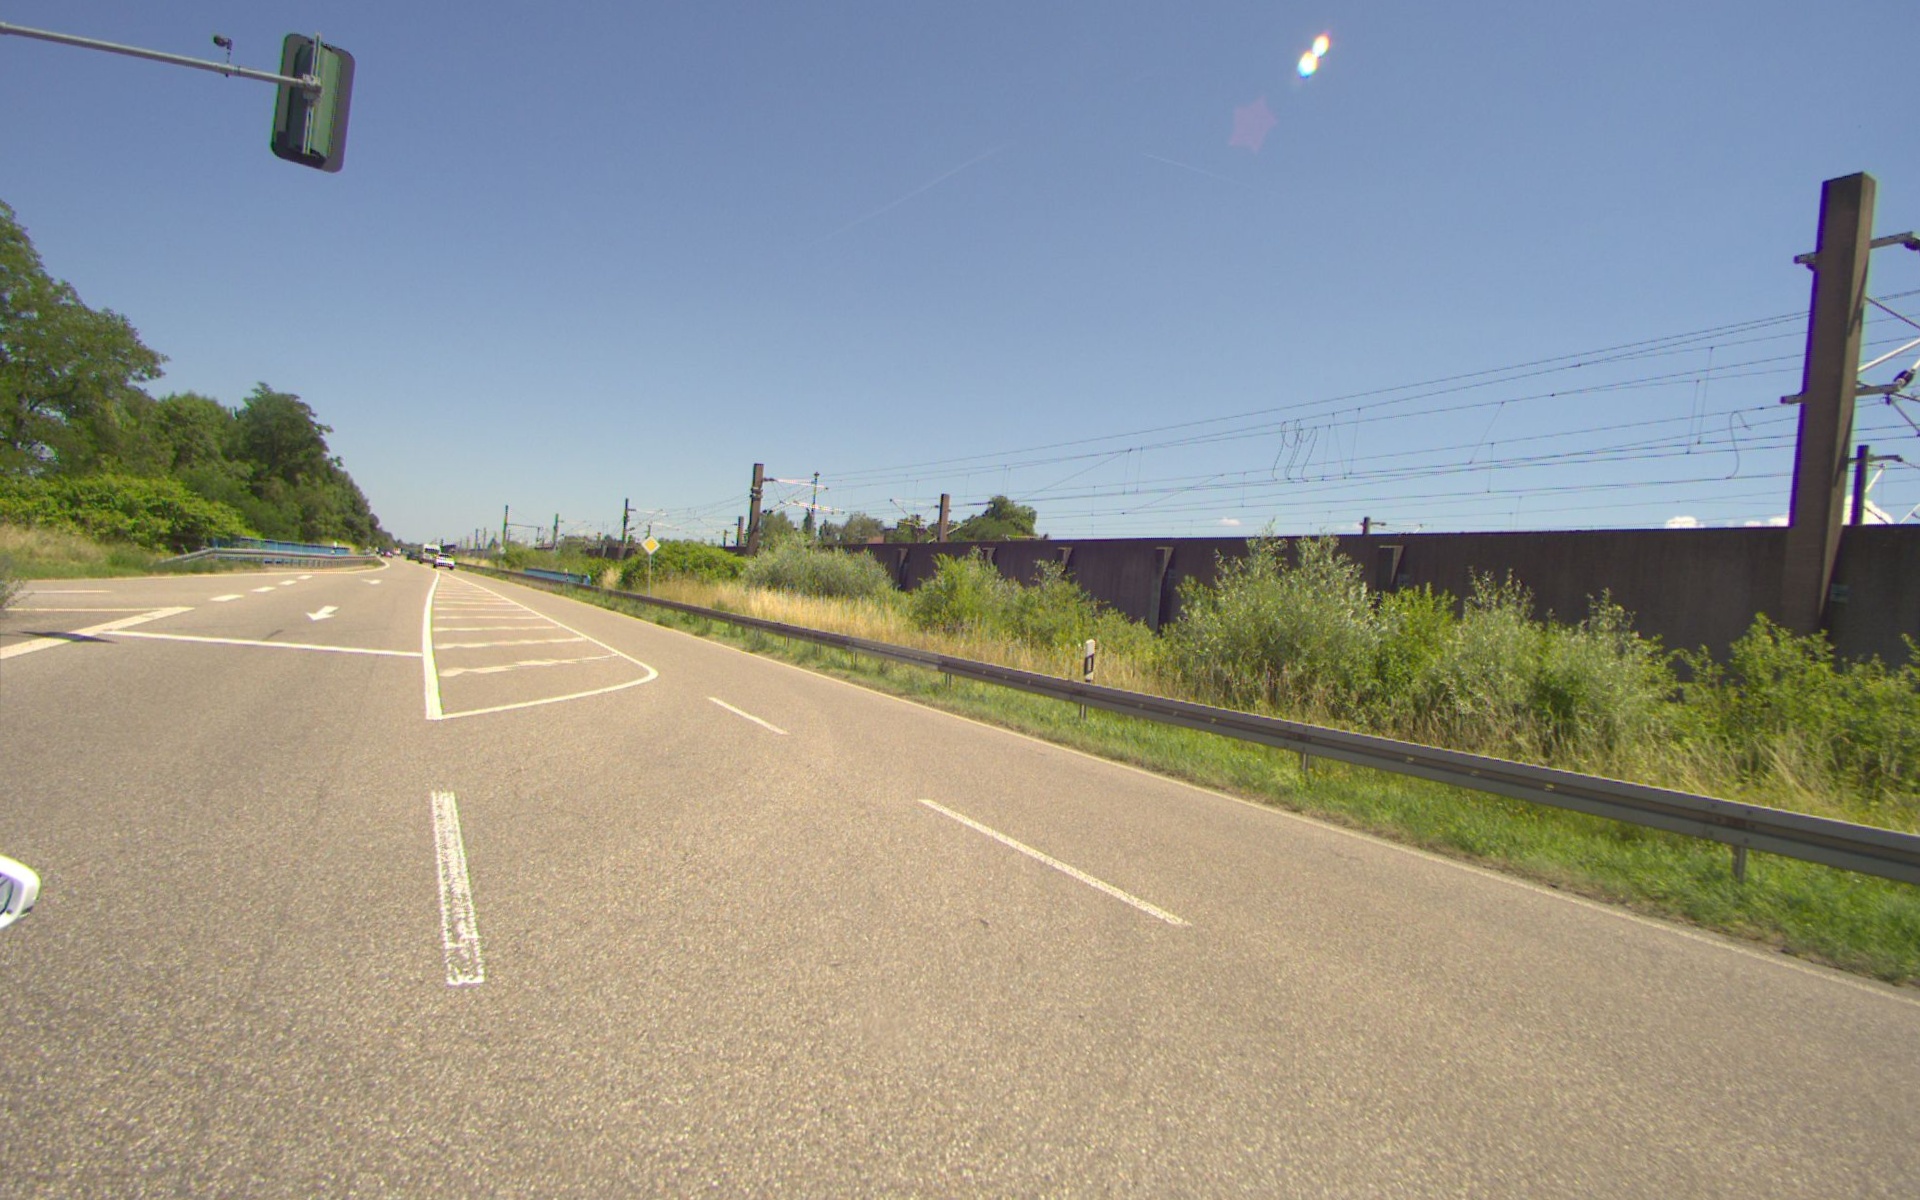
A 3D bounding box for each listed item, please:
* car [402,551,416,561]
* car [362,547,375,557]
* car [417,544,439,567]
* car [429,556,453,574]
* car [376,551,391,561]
[{"bbox_3d":[-90.011,-7.218,164.275,1.843,1.396,4.468,7,-1,-30],"label":"car"},{"bbox_3d":[-105.383,-8.571,179.238,1.843,1.396,4.468,7,-1,-30],"label":"car"},{"bbox_3d":[-68.489,-5.776,129.556,2.171,2.635,6.701,7,-1,-29],"label":"car"},{"bbox_3d":[-52.929,-3.554,102.489,1.804,1.583,4.244,7,-1,-31],"label":"car"},{"bbox_3d":[-93.229,-7.154,162.720,1.843,1.396,4.468,7,-1,-30],"label":"car"}]
